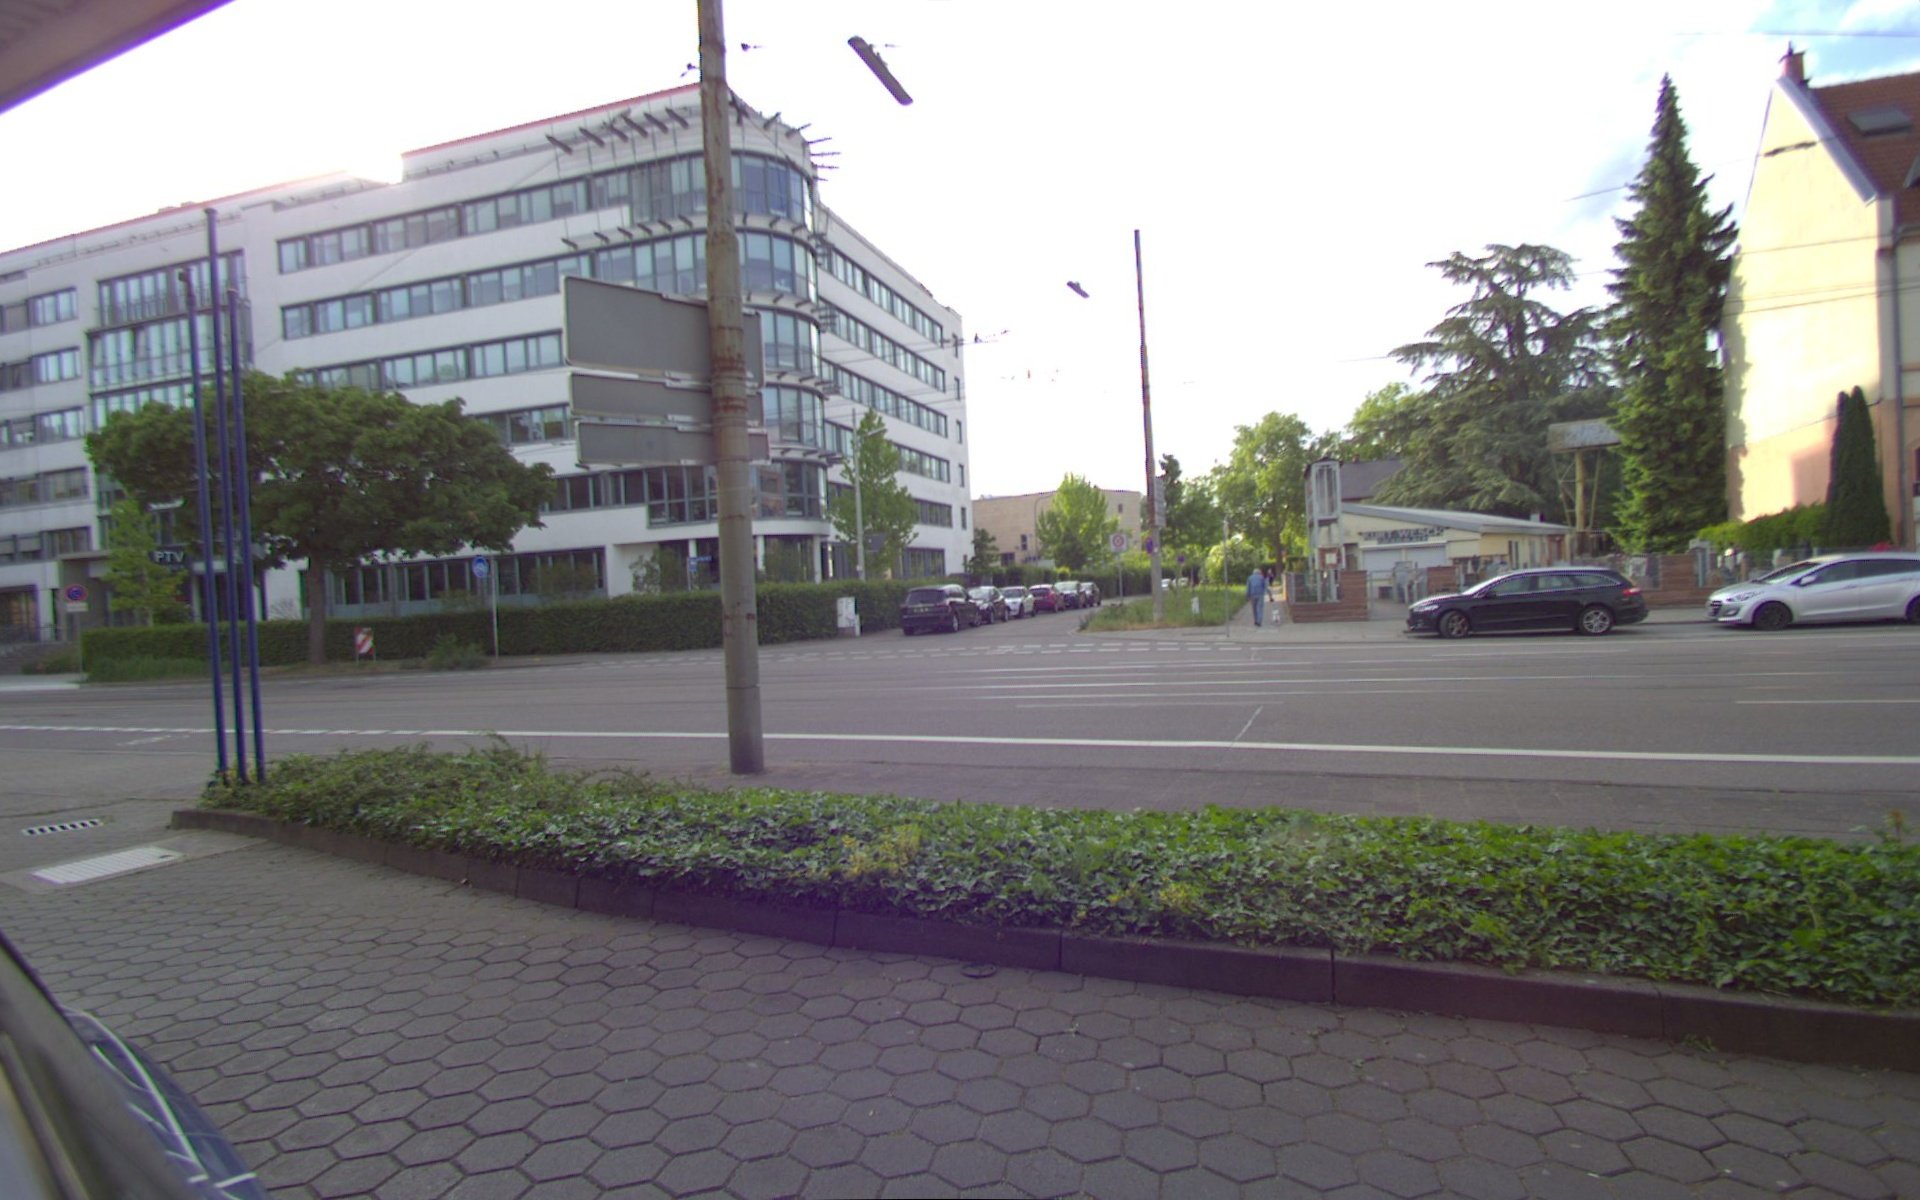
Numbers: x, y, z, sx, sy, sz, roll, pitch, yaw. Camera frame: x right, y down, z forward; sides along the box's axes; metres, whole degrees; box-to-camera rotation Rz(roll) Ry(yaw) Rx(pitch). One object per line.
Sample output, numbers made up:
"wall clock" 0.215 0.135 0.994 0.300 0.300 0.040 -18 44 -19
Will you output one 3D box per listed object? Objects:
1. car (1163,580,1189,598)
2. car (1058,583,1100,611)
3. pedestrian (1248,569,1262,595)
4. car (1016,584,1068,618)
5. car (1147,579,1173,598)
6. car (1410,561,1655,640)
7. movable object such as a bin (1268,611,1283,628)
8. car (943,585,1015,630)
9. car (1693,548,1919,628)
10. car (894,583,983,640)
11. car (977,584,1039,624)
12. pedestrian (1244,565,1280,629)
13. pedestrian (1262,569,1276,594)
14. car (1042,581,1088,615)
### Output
"car" 22.837 -1.173 106.853 1.813 1.654 4.040 -4 0 25
"car" 7.388 -0.221 62.569 1.807 1.585 4.052 -4 0 16
"pedestrian" 22.168 -1.361 76.014 0.965 1.896 1.056 -1 0 17
"car" 4.302 0.017 52.406 1.807 1.589 4.175 -4 0 16
"car" 19.960 -1.151 100.906 1.811 1.654 4.044 -4 0 22
"car" 13.015 0.009 23.366 4.632 1.533 1.842 -3 2 22
"movable object such as a bin" 8.936 0.556 28.671 0.363 0.397 0.660 -2 4 17
"car" 0.833 0.267 40.980 1.807 1.589 4.175 -4 0 16
"car" 18.409 -0.266 21.396 4.349 1.493 1.732 -3 1 22
"car" -0.685 0.355 35.565 1.807 1.701 4.370 -4 1 16
"car" 2.226 0.148 45.684 1.807 1.589 4.175 -4 0 16
"pedestrian" 8.560 -0.087 28.723 0.902 1.712 0.921 -2 6 17
"pedestrian" 23.136 -1.373 75.706 0.965 1.896 1.056 -1 0 17
"car" 6.033 -0.143 57.804 1.807 1.704 4.392 -4 0 16
